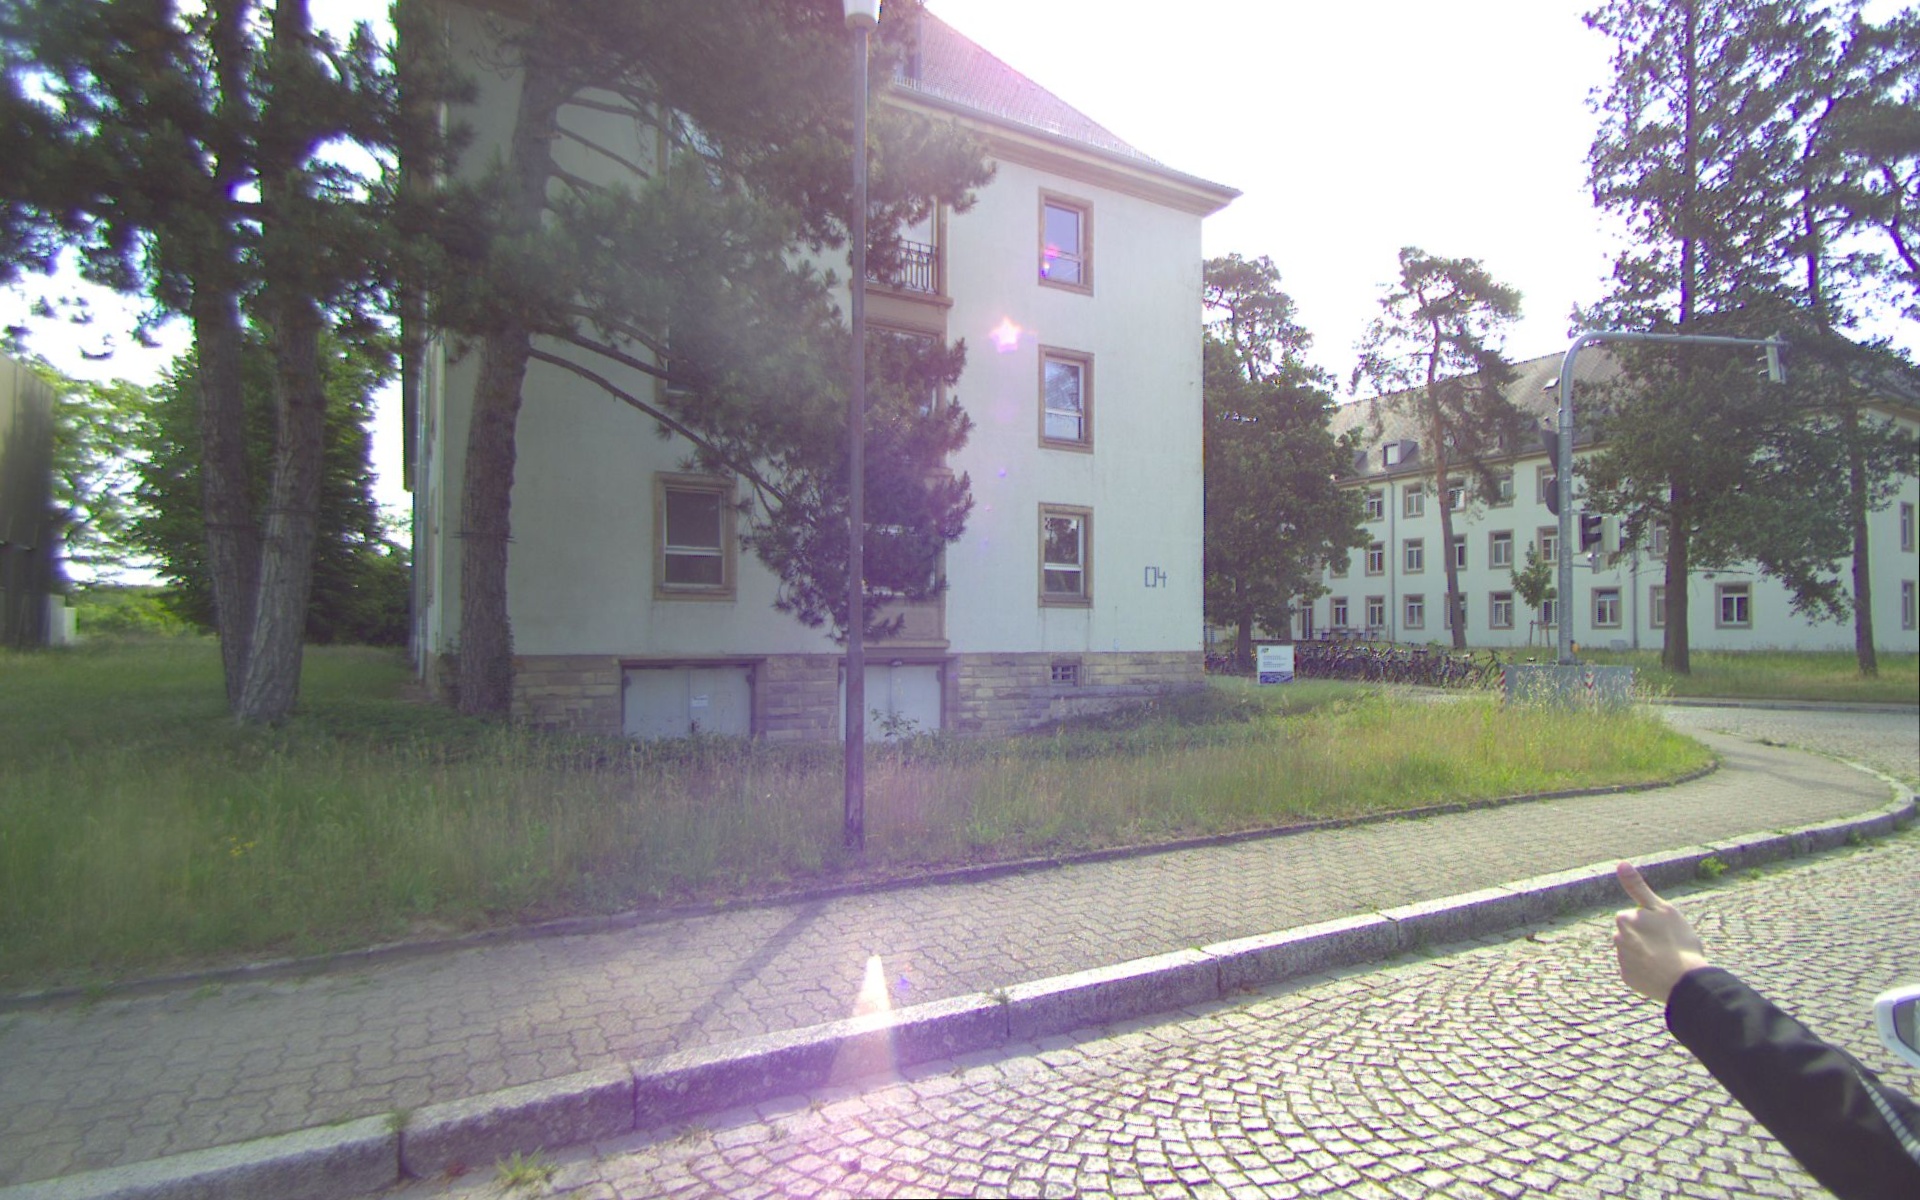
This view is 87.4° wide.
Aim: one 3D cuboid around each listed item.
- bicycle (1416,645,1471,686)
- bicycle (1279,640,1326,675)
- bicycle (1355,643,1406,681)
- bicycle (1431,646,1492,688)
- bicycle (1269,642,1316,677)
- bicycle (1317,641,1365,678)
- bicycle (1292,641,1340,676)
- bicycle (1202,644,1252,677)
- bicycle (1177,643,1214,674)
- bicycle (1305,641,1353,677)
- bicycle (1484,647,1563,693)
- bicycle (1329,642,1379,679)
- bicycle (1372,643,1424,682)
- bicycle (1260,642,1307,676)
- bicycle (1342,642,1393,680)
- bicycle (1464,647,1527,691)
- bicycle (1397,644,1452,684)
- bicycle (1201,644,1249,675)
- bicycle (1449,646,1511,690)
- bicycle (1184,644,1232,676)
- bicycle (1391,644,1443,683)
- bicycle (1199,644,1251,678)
[{"bbox_3d":[15.133,2.032,31.434,1.966,1.236,0.569,1,-2,-31],"label":"bicycle"},{"bbox_3d":[12.486,2.083,36.631,1.914,1.236,0.512,1,-2,-31],"label":"bicycle"},{"bbox_3d":[14.119,2.060,33.713,1.954,1.236,0.512,1,-2,-31],"label":"bicycle"},{"bbox_3d":[15.223,2.016,30.494,2.080,1.236,0.630,1,-2,-31],"label":"bicycle"},{"bbox_3d":[12.262,2.180,37.034,1.914,1.236,0.512,1,-2,-31],"label":"bicycle"},{"bbox_3d":[13.315,2.067,35.092,1.914,1.236,0.512,1,-2,-31],"label":"bicycle"},{"bbox_3d":[12.794,2.078,36.105,1.914,1.236,0.512,1,-2,-31],"label":"bicycle"},{"bbox_3d":[10.204,2.287,38.390,1.794,1.236,0.515,-1,-2,25],"label":"bicycle"},{"bbox_3d":[9.601,2.356,40.889,1.814,1.236,0.510,2,-2,-41],"label":"bicycle"},{"bbox_3d":[13.067,2.072,35.579,1.914,1.236,0.512,1,-2,-31],"label":"bicycle"},{"bbox_3d":[15.723,1.933,28.069,0.627,1.236,1.853,1,-2,-29],"label":"bicycle"},{"bbox_3d":[13.576,2.062,34.602,1.931,1.236,0.512,1,-2,-31],"label":"bicycle"},{"bbox_3d":[14.474,2.055,33.172,1.992,1.236,0.512,1,-2,-31],"label":"bicycle"},{"bbox_3d":[12.053,2.184,37.409,1.914,1.236,0.512,1,-2,-31],"label":"bicycle"},{"bbox_3d":[13.861,2.060,34.161,1.954,1.236,0.512,1,-2,-31],"label":"bicycle"},{"bbox_3d":[15.755,2.005,29.547,2.089,1.236,0.630,1,-2,-31],"label":"bicycle"},{"bbox_3d":[14.879,2.044,32.151,2.005,1.236,0.576,1,-2,-31],"label":"bicycle"},{"bbox_3d":[10.506,2.360,39.853,1.792,1.236,0.516,0,-2,7],"label":"bicycle"},{"bbox_3d":[15.512,2.010,29.964,2.099,1.236,0.630,1,-2,-31],"label":"bicycle"},{"bbox_3d":[9.709,2.339,39.387,1.792,1.236,0.516,0,-2,7],"label":"bicycle"},{"bbox_3d":[14.958,2.055,32.863,1.877,1.236,0.545,1,-2,-31],"label":"bicycle"},{"bbox_3d":[9.966,2.280,37.786,1.794,1.236,0.515,-1,-2,25],"label":"bicycle"}]
